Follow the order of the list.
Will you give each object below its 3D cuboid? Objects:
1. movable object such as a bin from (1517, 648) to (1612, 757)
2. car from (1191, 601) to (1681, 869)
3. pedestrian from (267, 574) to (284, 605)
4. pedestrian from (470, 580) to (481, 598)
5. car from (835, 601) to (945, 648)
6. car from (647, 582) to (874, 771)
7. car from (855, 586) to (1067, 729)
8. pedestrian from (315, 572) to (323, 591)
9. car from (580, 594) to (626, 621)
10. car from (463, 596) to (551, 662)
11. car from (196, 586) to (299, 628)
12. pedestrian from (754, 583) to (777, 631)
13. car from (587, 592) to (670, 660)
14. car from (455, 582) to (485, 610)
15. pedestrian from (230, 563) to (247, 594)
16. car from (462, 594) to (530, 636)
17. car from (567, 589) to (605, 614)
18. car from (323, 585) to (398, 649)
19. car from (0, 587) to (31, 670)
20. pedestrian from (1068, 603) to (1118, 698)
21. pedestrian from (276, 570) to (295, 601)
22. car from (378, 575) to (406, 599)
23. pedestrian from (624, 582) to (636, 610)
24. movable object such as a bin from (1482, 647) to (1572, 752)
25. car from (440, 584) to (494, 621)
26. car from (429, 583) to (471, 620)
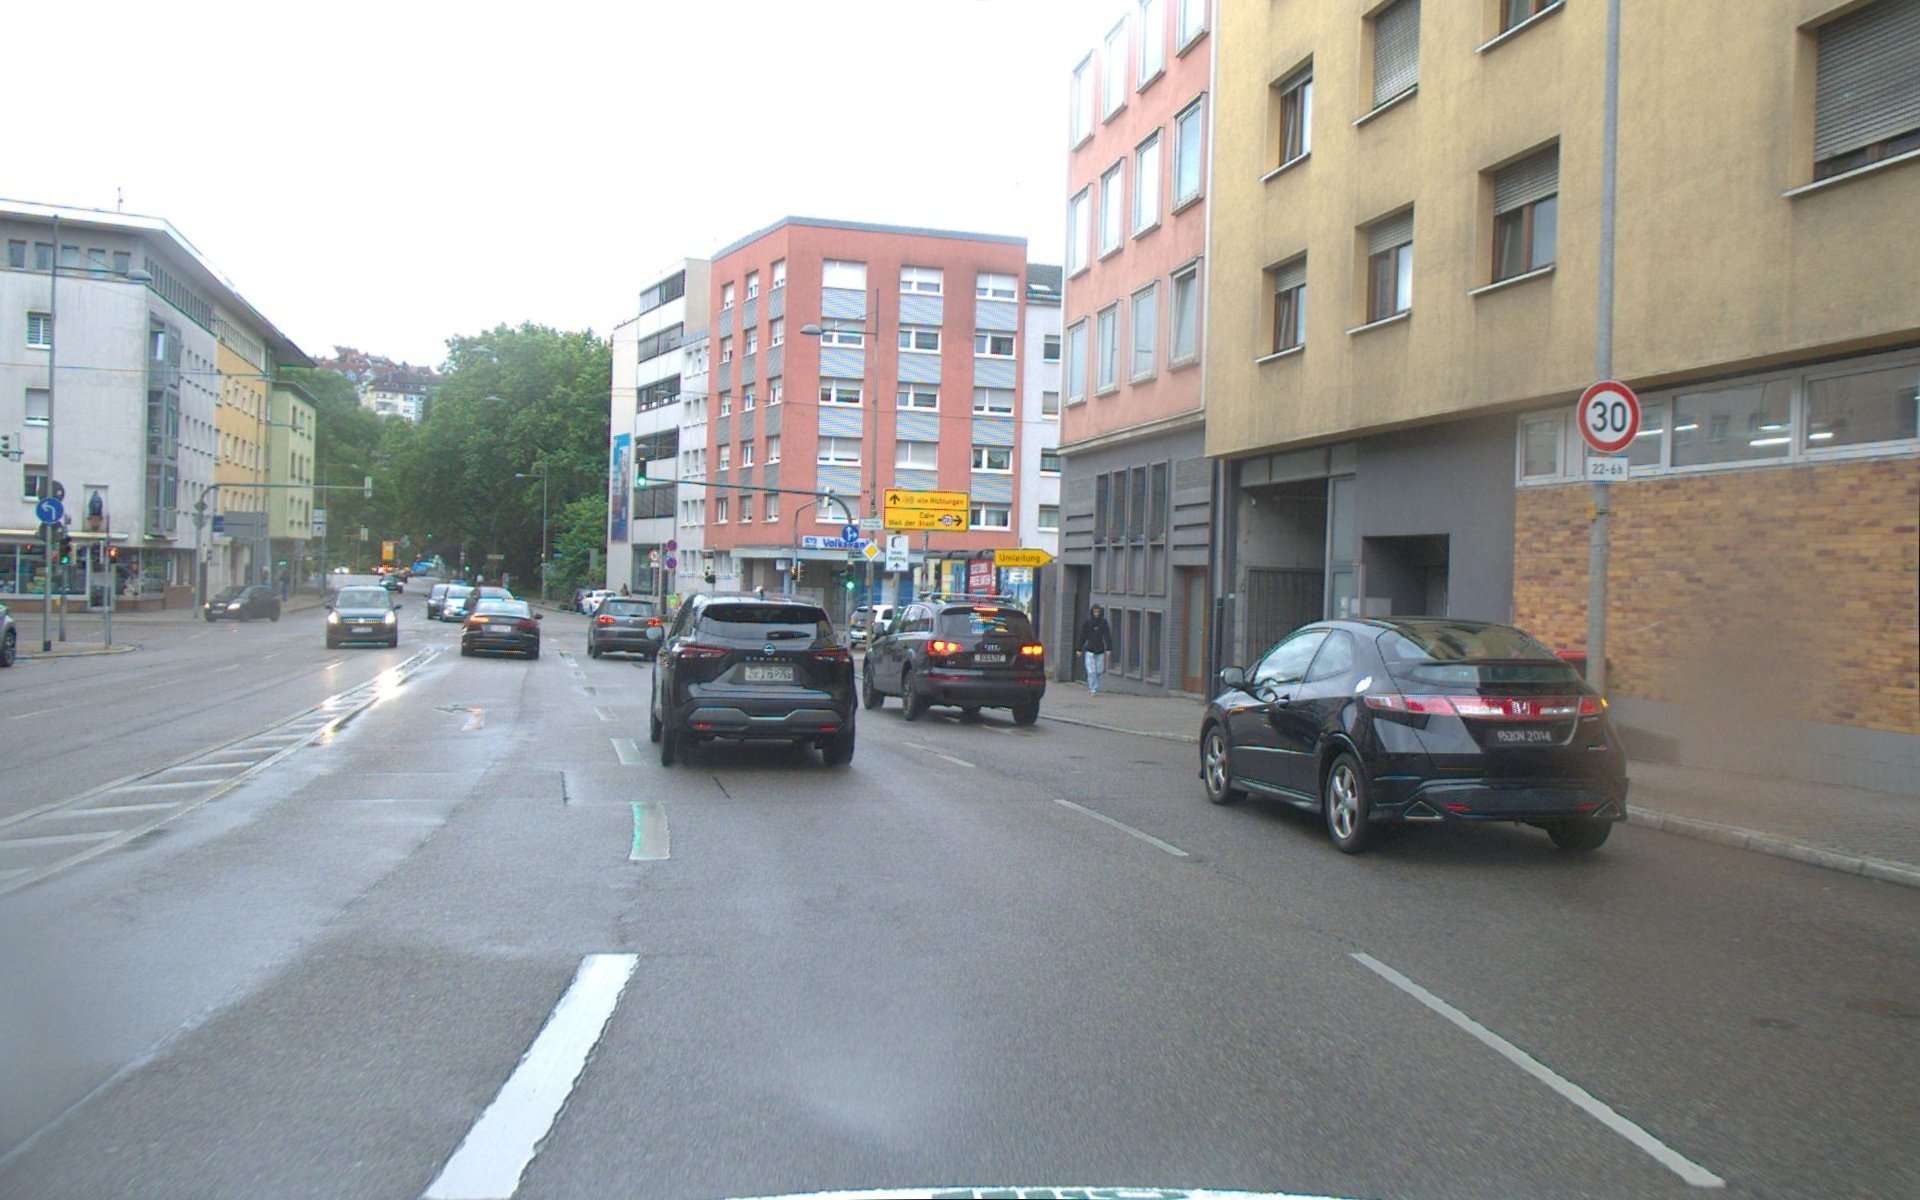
[{"bbox_3d":[6.330,1.065,17.327,0.669,1.095,0.666,1,-1,-15],"label":"movable object such as a bin"},{"bbox_3d":[3.058,0.784,11.576,1.751,1.523,4.048,1,0,-9],"label":"car"},{"bbox_3d":[-37.294,-0.565,90.109,0.675,1.608,0.649,4,0,-15],"label":"pedestrian"},{"bbox_3d":[-51.436,-1.177,175.532,0.705,1.822,0.668,3,0,26],"label":"pedestrian"},{"bbox_3d":[-2.523,0.905,60.478,1.960,1.512,3.985,3,0,35],"label":"car"},{"bbox_3d":[-2.125,0.694,16.637,1.861,1.657,3.987,1,0,-13],"label":"car"},{"bbox_3d":[-0.114,0.768,24.830,1.988,1.902,4.879,0,0,-15],"label":"car"},{"bbox_3d":[-64.670,-1.855,166.862,0.659,1.822,0.715,3,0,-29],"label":"pedestrian"},{"bbox_3d":[-20.742,0.403,96.018,1.751,1.425,4.545,0,1,-24],"label":"car"},{"bbox_3d":[-11.508,0.700,41.819,1.962,1.412,4.479,4,0,-17],"label":"car"},{"bbox_3d":[-29.210,0.288,67.946,1.657,1.655,4.002,0,0,18],"label":"car"},{"bbox_3d":[-9.079,0.338,77.261,0.812,2.196,0.766,3,0,-16],"label":"pedestrian"},{"bbox_3d":[-8.993,0.654,44.698,1.914,1.714,3.983,0,0,-16],"label":"car"},{"bbox_3d":[-35.222,-0.312,118.748,1.794,1.827,3.844,3,0,-20],"label":"car"},{"bbox_3d":[-41.069,-1.245,94.137,0.787,1.718,0.811,2,0,-23],"label":"pedestrian"},{"bbox_3d":[-19.063,0.597,67.853,1.835,1.580,4.187,1,0,-28],"label":"car"},{"bbox_3d":[-23.087,0.078,102.033,1.690,1.467,4.056,0,1,-21],"label":"car"},{"bbox_3d":[-16.416,0.439,45.443,1.834,1.676,4.231,0,0,-19],"label":"car"},{"bbox_3d":[-19.090,0.532,30.776,1.875,1.581,4.615,0,0,-13],"label":"car"},{"bbox_3d":[2.621,0.981,32.674,0.661,1.819,1.092,2,0,-11],"label":"pedestrian"},{"bbox_3d":[-40.716,-0.879,99.903,0.851,1.819,0.871,4,-1,-16],"label":"pedestrian"},{"bbox_3d":[-49.197,-1.137,143.349,1.962,1.892,3.982,3,0,-16],"label":"car"},{"bbox_3d":[-20.975,-0.268,105.096,0.605,1.767,0.674,0,1,-29],"label":"pedestrian"},{"bbox_3d":[6.160,1.078,17.990,0.669,1.095,0.666,1,-1,-15],"label":"movable object such as a bin"},{"bbox_3d":[-21.640,0.117,72.548,1.907,1.553,4.108,1,-1,-22],"label":"car"},{"bbox_3d":[-23.823,0.061,77.261,1.792,1.636,4.409,1,0,-17],"label":"car"}]
